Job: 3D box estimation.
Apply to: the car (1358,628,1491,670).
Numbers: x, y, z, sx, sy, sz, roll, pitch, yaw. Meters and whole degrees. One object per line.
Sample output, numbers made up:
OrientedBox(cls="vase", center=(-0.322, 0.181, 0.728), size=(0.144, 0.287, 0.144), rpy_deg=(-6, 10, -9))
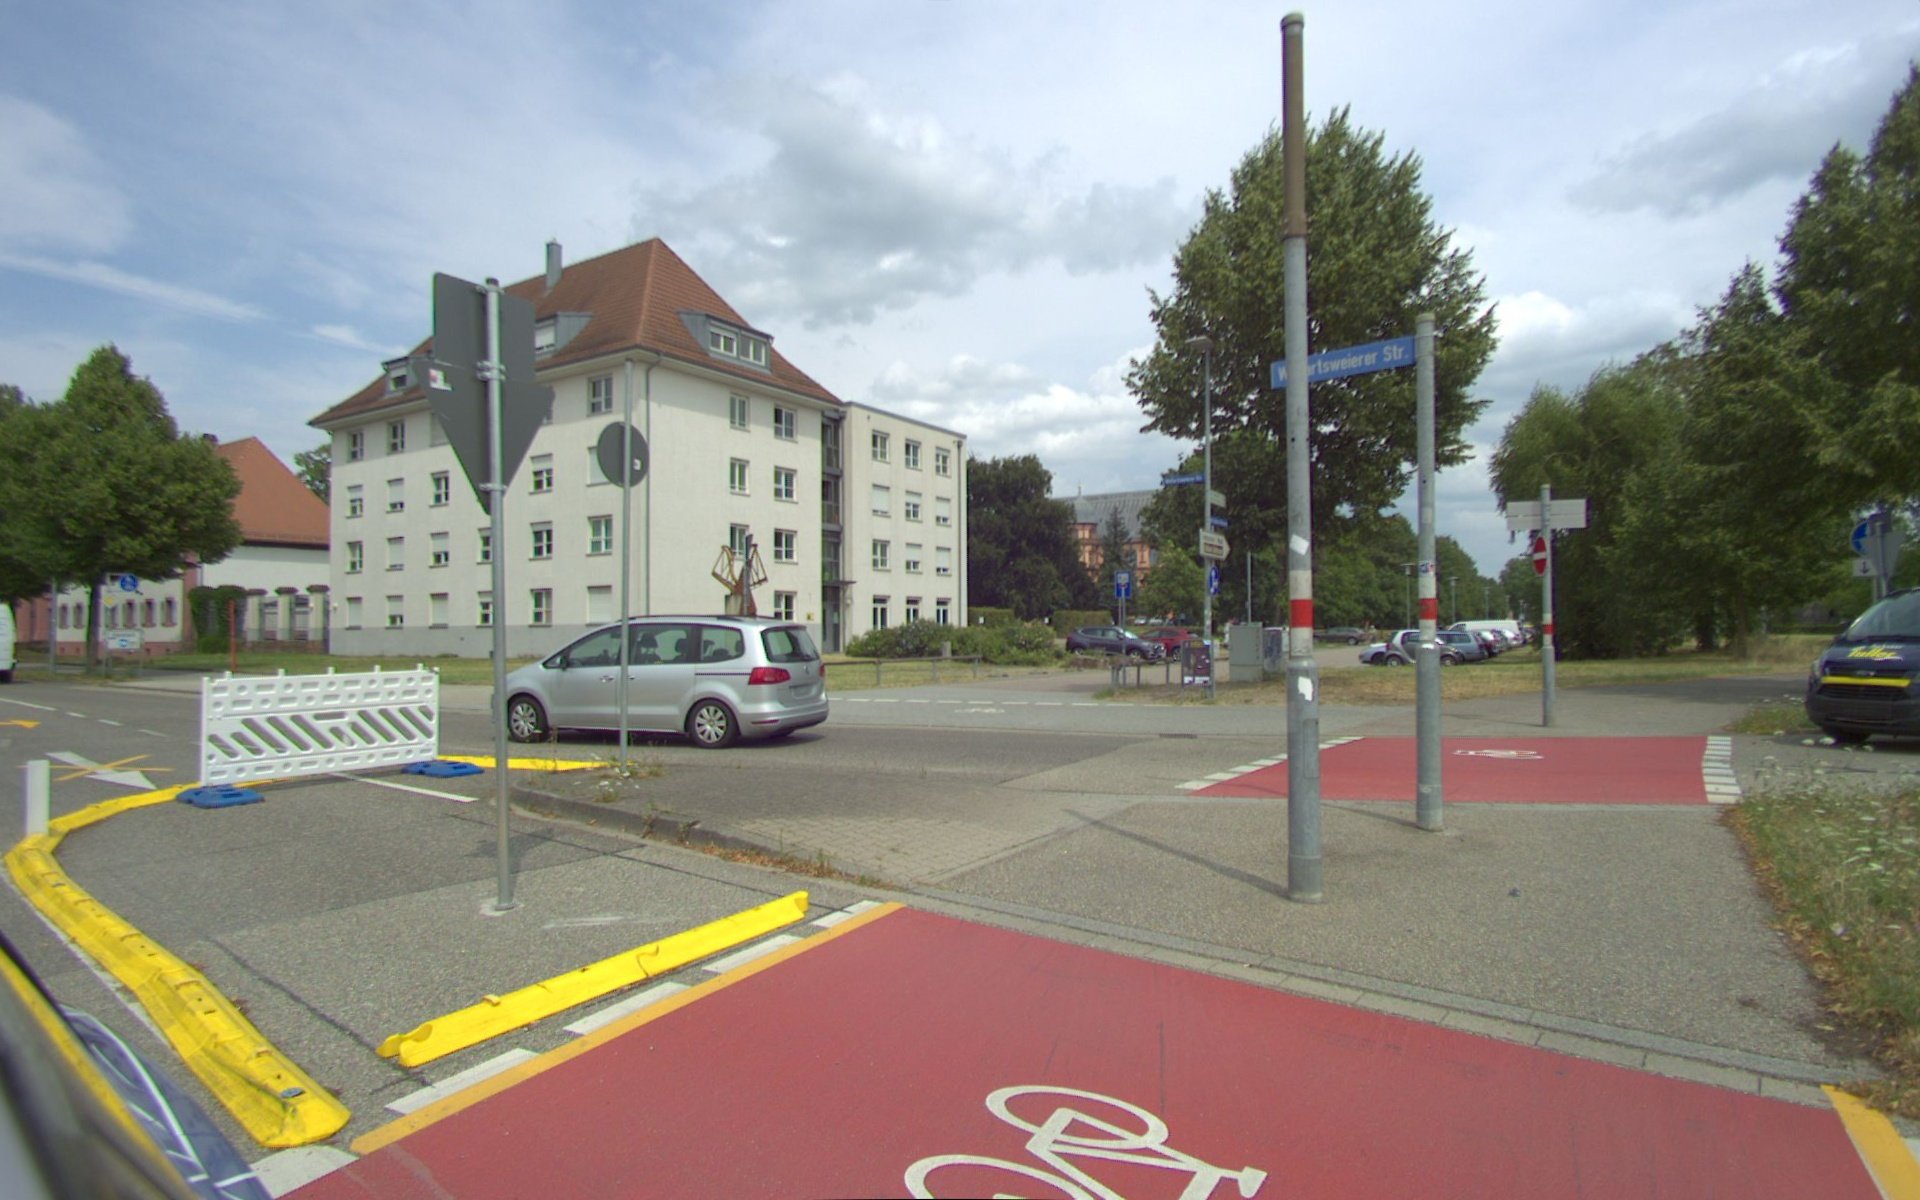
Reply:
OrientedBox(cls="car", center=(18.794, 1.993, 40.971), size=(4.688, 1.482, 1.814), rpy_deg=(-4, -3, 30))

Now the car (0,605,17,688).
OrientedBox(cls="car", center=(-33.998, 1.561, 34.006), size=(5.953, 2.706, 2.048), rpy_deg=(-2, -2, 33))

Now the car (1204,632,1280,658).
OrientedBox(cls="car", center=(16.810, 2.650, 60.354), size=(3.994, 1.479, 1.798), rpy_deg=(-2, -2, 32))

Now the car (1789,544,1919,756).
OrientedBox(cls="car", center=(12.798, 0.544, 11.859), size=(5.074, 2.290, 2.005), rpy_deg=(0, -2, -13))

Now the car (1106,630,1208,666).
OrientedBox(cls="car", center=(9.452, 2.285, 48.702), size=(4.395, 1.610, 1.977), rpy_deg=(-2, -2, 34))

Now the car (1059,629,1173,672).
OrientedBox(cls="car", center=(6.743, 2.176, 43.979), size=(4.485, 1.778, 1.978), rpy_deg=(-2, -2, 32))

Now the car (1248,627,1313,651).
OrientedBox(cls="car", center=(22.158, 2.730, 70.017), size=(3.994, 1.586, 1.798), rpy_deg=(-2, -3, 32))

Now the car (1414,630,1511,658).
OrientedBox(cls="car", center=(27.720, 2.429, 55.862), size=(4.591, 1.482, 1.812), rpy_deg=(-2, -2, 33))

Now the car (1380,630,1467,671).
OrientedBox(cls="car", center=(17.712, 1.932, 38.683), size=(2.901, 1.434, 1.470), rpy_deg=(-4, -4, 26))

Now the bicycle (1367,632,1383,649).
OrientedBox(cls="bicycle", center=(29.907, 2.945, 72.941), size=(0.776, 1.185, 2.208), rpy_deg=(-2, -2, 28))

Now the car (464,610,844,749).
OrientedBox(cls="car", center=(-4.072, 1.020, 13.554), size=(4.707, 1.635, 1.791), rpy_deg=(-1, -2, 18))

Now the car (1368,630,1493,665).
OrientedBox(cls="car", center=(21.129, 2.115, 45.546), size=(4.874, 1.482, 1.812), rpy_deg=(-2, -2, 33))

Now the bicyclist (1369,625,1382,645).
OrientedBox(cls="bicyclist", center=(29.960, 2.515, 73.042), size=(0.776, 1.415, 0.722), rpy_deg=(-2, -2, 29))

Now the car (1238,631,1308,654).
OrientedBox(cls="car", center=(20.299, 2.750, 65.689), size=(3.994, 1.479, 1.798), rpy_deg=(-2, -2, 32))

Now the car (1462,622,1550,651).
OrientedBox(cls="car", center=(40.064, 2.681, 74.318), size=(5.554, 2.072, 2.176), rpy_deg=(-2, -2, 33))

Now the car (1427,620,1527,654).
OrientedBox(cls="car", center=(32.935, 2.375, 64.551), size=(5.550, 2.072, 2.178), rpy_deg=(-2, -2, 31))

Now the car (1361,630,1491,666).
OrientedBox(cls="car", center=(19.981, 2.046, 43.460), size=(4.874, 1.482, 1.812), rpy_deg=(-2, -2, 33))

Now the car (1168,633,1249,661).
OrientedBox(cls="car", center=(13.588, 2.549, 55.354), size=(3.994, 1.479, 1.598), rpy_deg=(-2, -2, 32))
